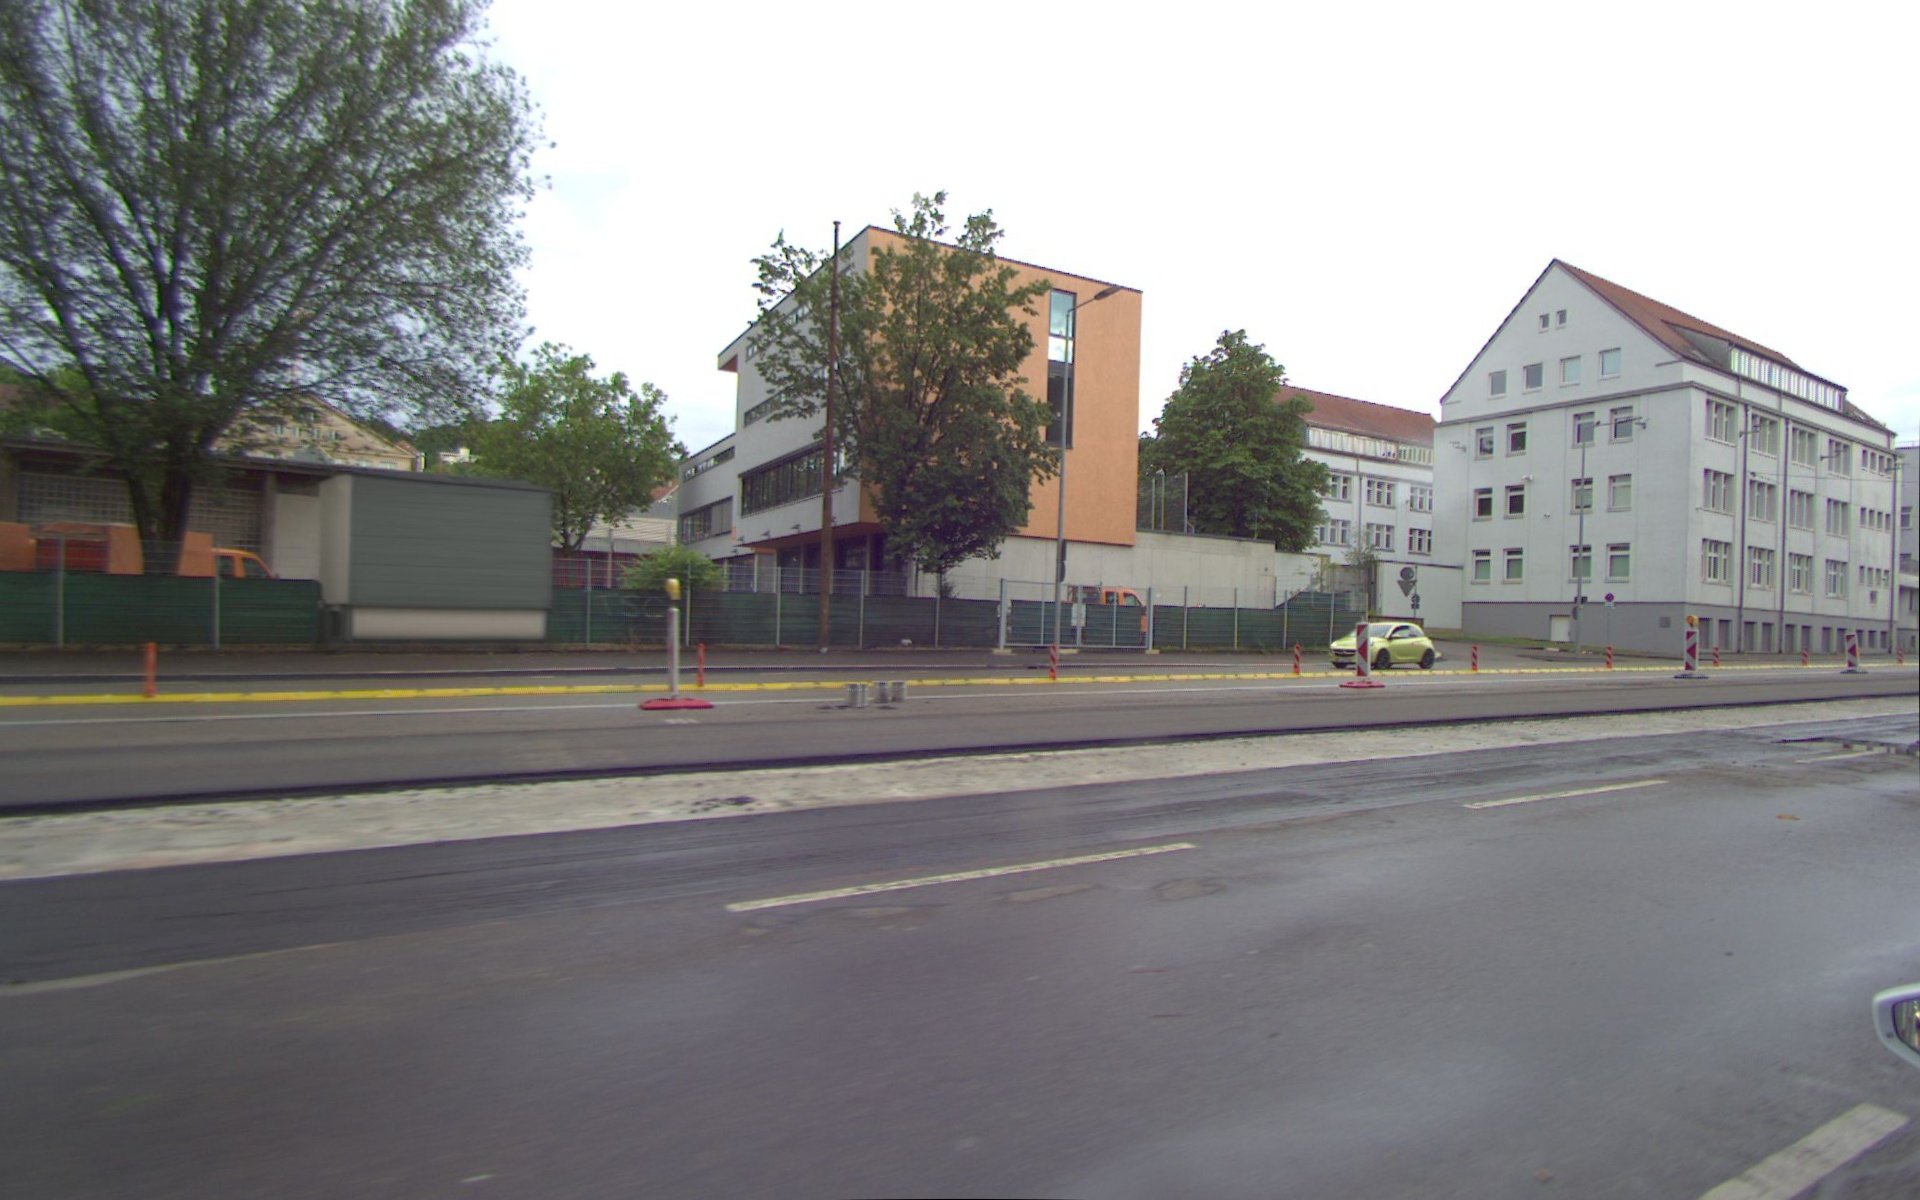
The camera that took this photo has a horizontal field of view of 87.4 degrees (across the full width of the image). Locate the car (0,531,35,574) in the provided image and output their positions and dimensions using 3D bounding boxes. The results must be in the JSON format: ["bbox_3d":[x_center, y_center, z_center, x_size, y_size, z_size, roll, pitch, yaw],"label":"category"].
[{"bbox_3d":[-25.835,-1.274,24.861,1.718,1.076,4.026,1,-1,13],"label":"car"}]

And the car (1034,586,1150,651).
[{"bbox_3d":[4.713,0.668,35.704,3.955,2.199,1.601,2,-1,-32],"label":"car"}]

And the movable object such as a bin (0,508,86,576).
[{"bbox_3d":[-23.917,-1.452,24.210,1.718,1.548,4.026,1,-1,13],"label":"movable object such as a bin"}]

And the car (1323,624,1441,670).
[{"bbox_3d":[13.369,1.484,31.775,3.761,1.386,1.546,2,-2,-31],"label":"car"}]

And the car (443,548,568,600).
[{"bbox_3d":[-15.221,-0.826,33.894,1.959,1.548,4.026,1,-1,8],"label":"car"}]
